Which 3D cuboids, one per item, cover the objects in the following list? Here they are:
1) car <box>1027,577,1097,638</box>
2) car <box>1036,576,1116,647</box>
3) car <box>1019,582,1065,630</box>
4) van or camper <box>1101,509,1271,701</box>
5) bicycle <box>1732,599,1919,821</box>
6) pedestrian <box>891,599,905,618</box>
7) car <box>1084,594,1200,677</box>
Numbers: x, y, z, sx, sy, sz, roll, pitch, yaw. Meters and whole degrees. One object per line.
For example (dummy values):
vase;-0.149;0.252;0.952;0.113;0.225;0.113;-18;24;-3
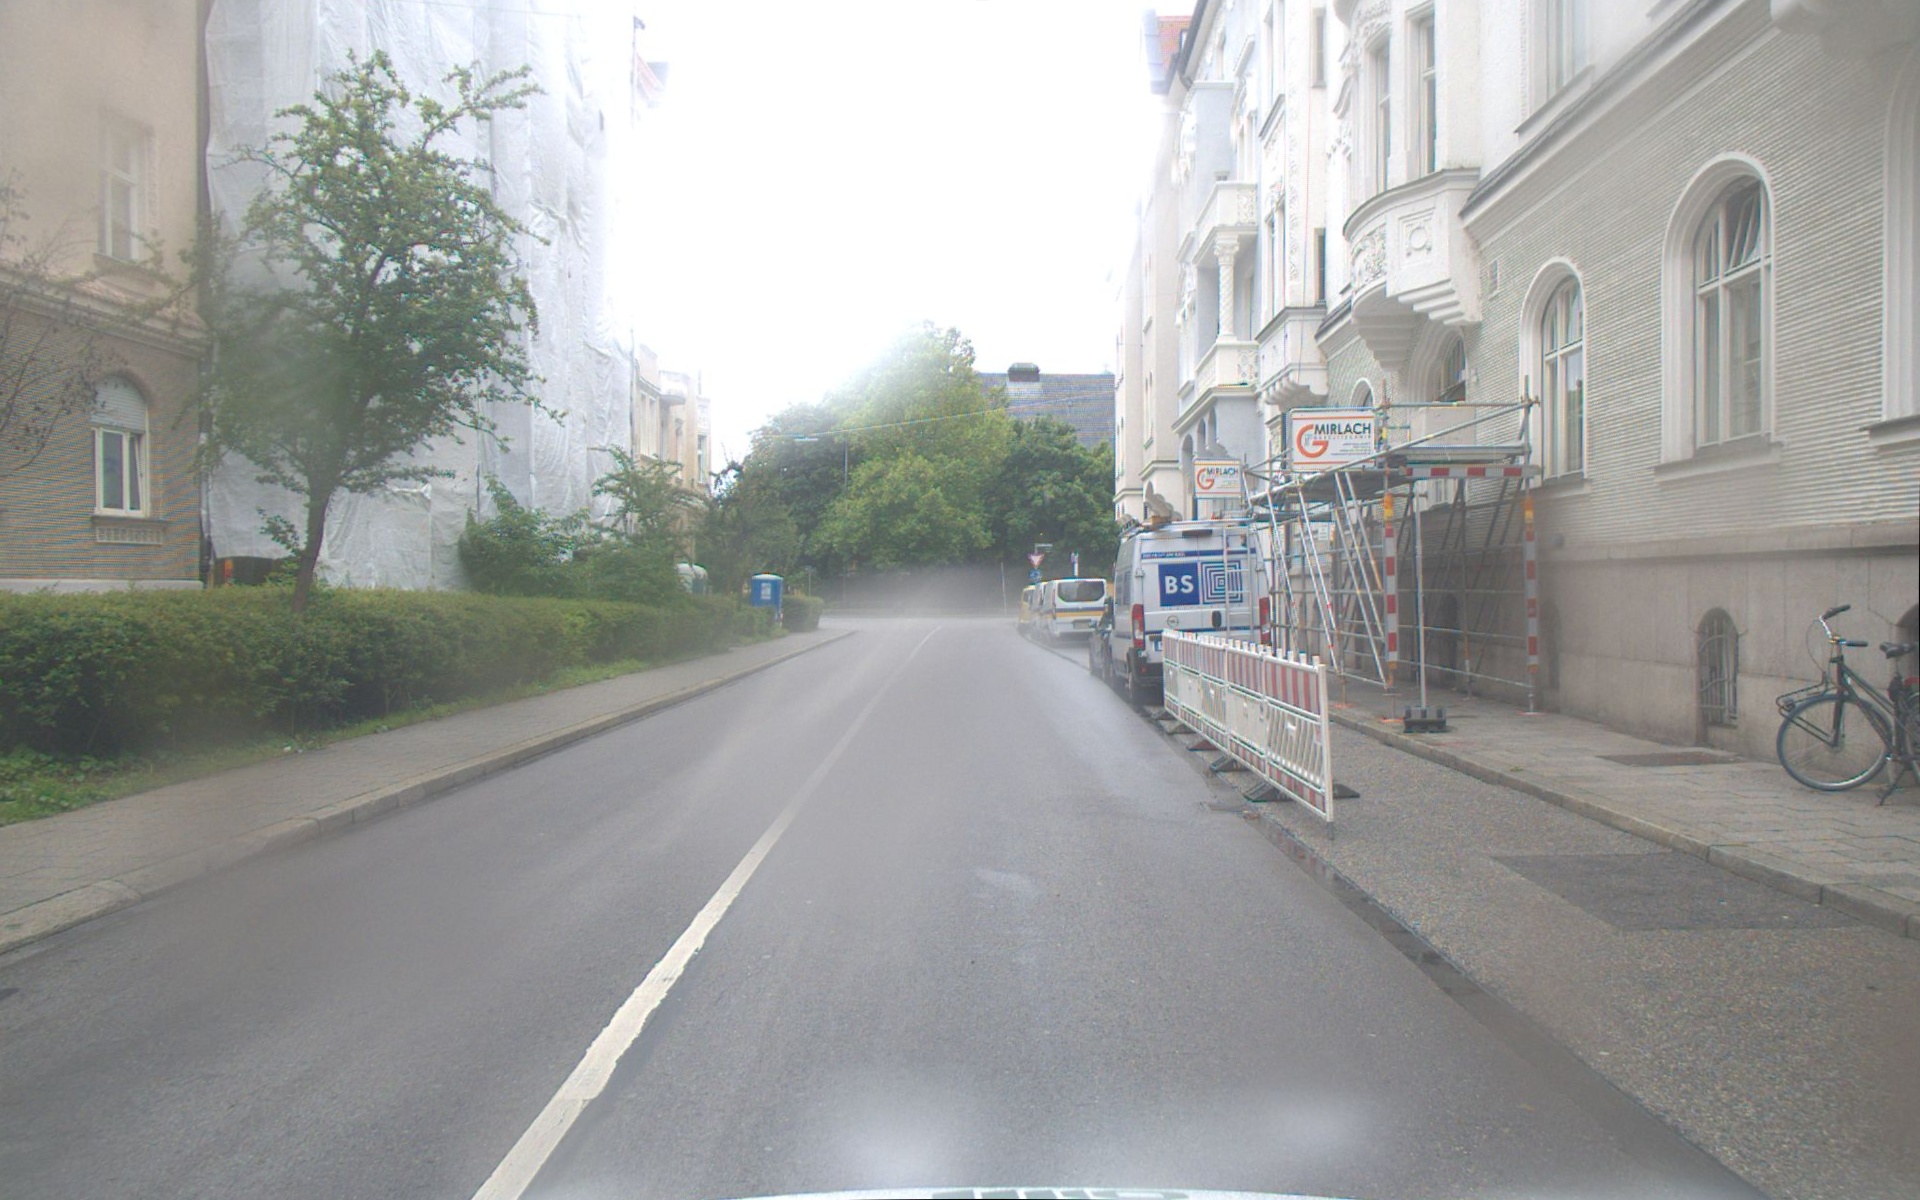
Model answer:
car;3.449;0.228;56.791;1.920;1.971;4.991;-1;0;-2
car;3.494;0.320;50.620;1.920;2.049;4.991;-1;0;-2
car;3.371;0.229;68.057;1.811;1.885;4.823;-1;0;3
van or camper;3.413;0.069;26.009;1.913;2.683;5.458;-1;0;0
bicycle;5.752;0.634;10.465;0.647;1.227;1.920;-4;0;-4
pedestrian;-4.084;0.578;109.132;0.794;1.209;0.920;-1;0;6
car;3.443;0.635;31.920;1.718;1.459;4.086;-1;0;-1
